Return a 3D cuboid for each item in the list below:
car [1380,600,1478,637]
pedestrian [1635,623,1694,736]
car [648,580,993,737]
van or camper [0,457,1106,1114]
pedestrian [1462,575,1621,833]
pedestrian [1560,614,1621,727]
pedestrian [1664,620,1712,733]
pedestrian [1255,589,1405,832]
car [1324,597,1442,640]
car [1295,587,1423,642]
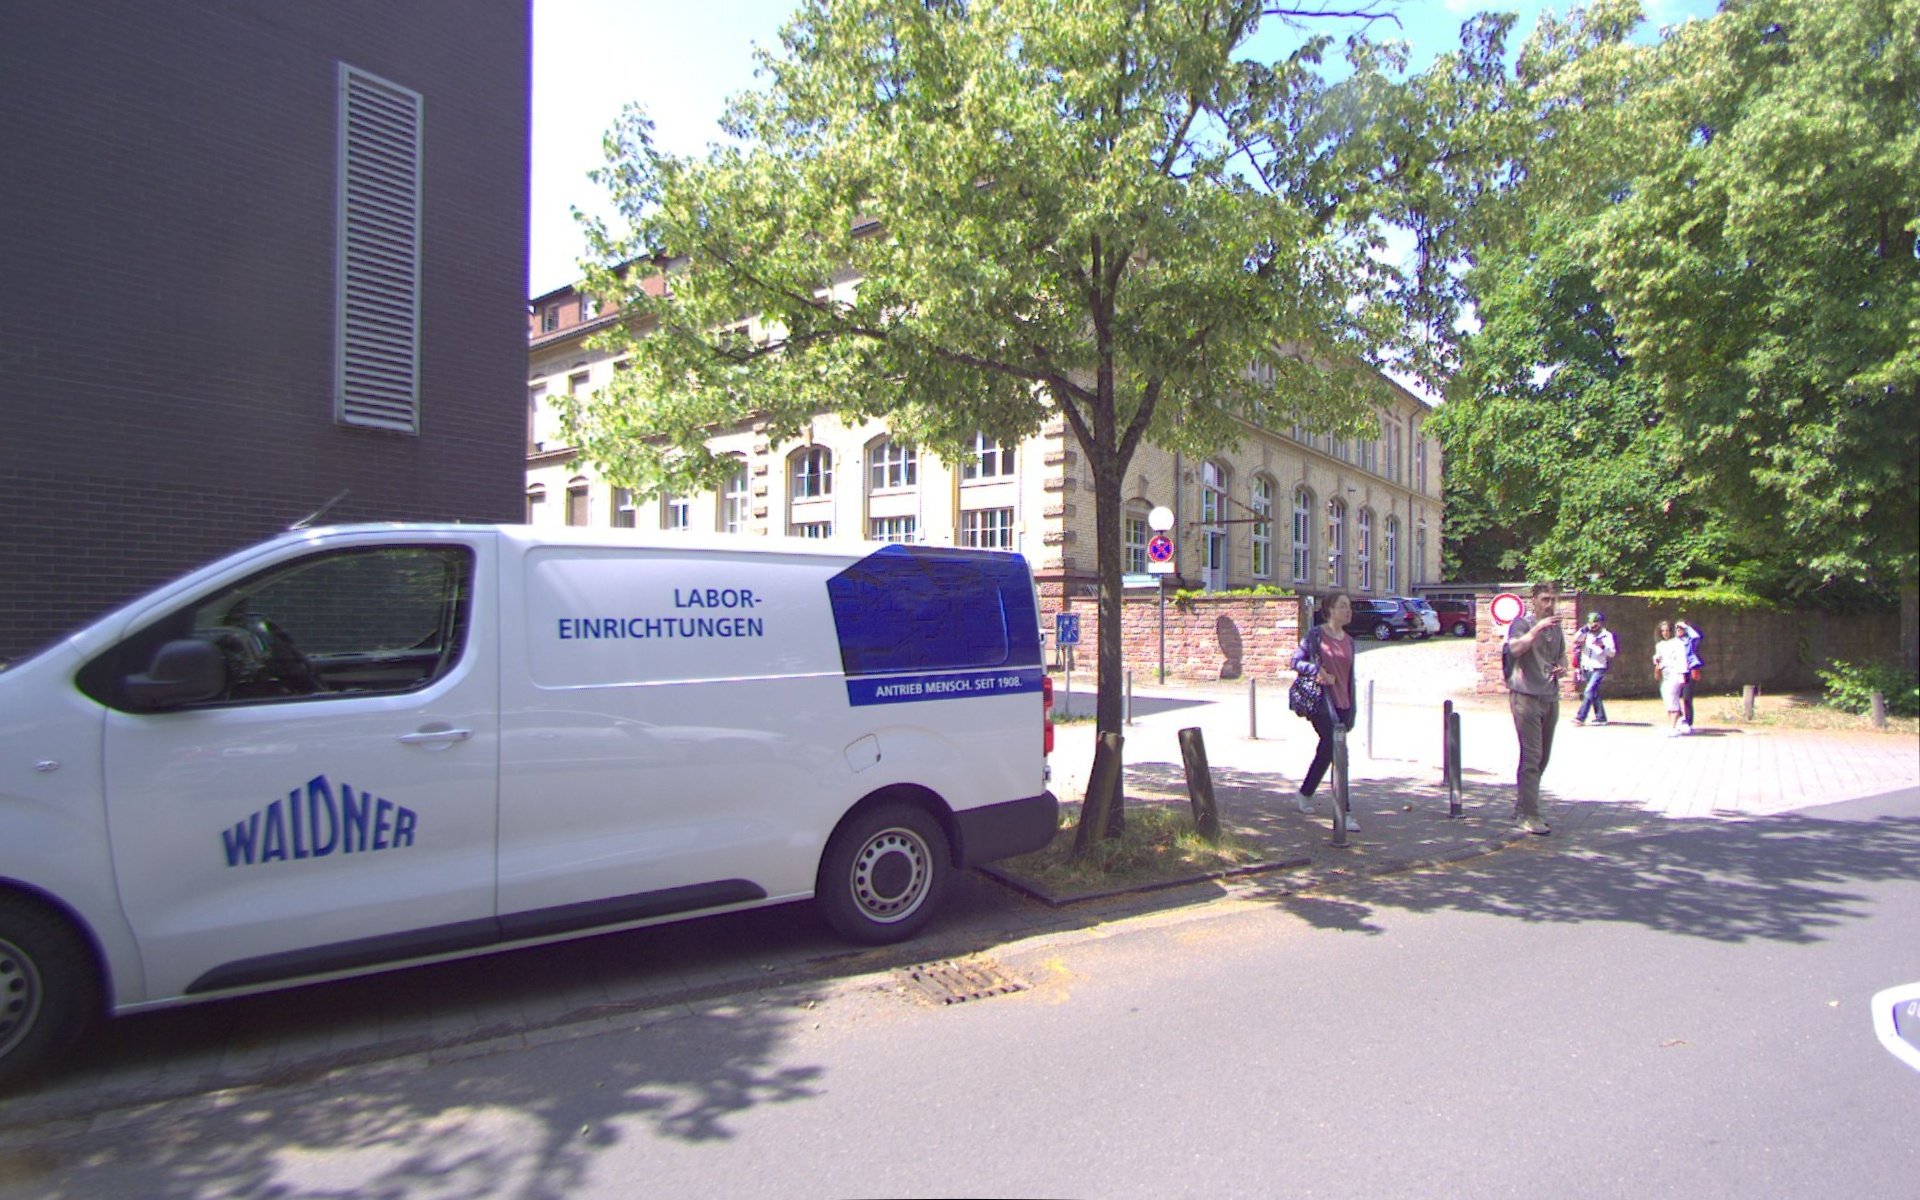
[{"bbox_3d":[21.319,0.833,45.728,3.803,1.643,1.750,0,-1,36],"label":"car"},{"bbox_3d":[9.965,1.104,14.221,0.574,1.547,0.494,0,-1,21],"label":"pedestrian"},{"bbox_3d":[-1.861,0.787,15.158,2.147,1.951,5.167,0,-1,37],"label":"car"},{"bbox_3d":[-2.050,0.579,4.597,5.358,1.949,1.943,1,0,-31],"label":"van or camper"},{"bbox_3d":[4.484,0.769,7.782,0.777,1.881,0.725,1,-1,-12],"label":"pedestrian"},{"bbox_3d":[9.662,1.058,15.411,0.616,1.685,0.604,1,-1,12],"label":"pedestrian"},{"bbox_3d":[10.572,1.095,14.601,0.486,1.606,0.493,0,-1,27],"label":"pedestrian"},{"bbox_3d":[2.794,0.800,7.630,0.778,1.735,0.740,1,-1,-15],"label":"pedestrian"},{"bbox_3d":[15.862,0.688,37.802,4.022,1.537,1.756,0,-1,23],"label":"car"},{"bbox_3d":[14.150,0.514,35.707,4.090,1.847,1.999,0,-1,23],"label":"car"}]
